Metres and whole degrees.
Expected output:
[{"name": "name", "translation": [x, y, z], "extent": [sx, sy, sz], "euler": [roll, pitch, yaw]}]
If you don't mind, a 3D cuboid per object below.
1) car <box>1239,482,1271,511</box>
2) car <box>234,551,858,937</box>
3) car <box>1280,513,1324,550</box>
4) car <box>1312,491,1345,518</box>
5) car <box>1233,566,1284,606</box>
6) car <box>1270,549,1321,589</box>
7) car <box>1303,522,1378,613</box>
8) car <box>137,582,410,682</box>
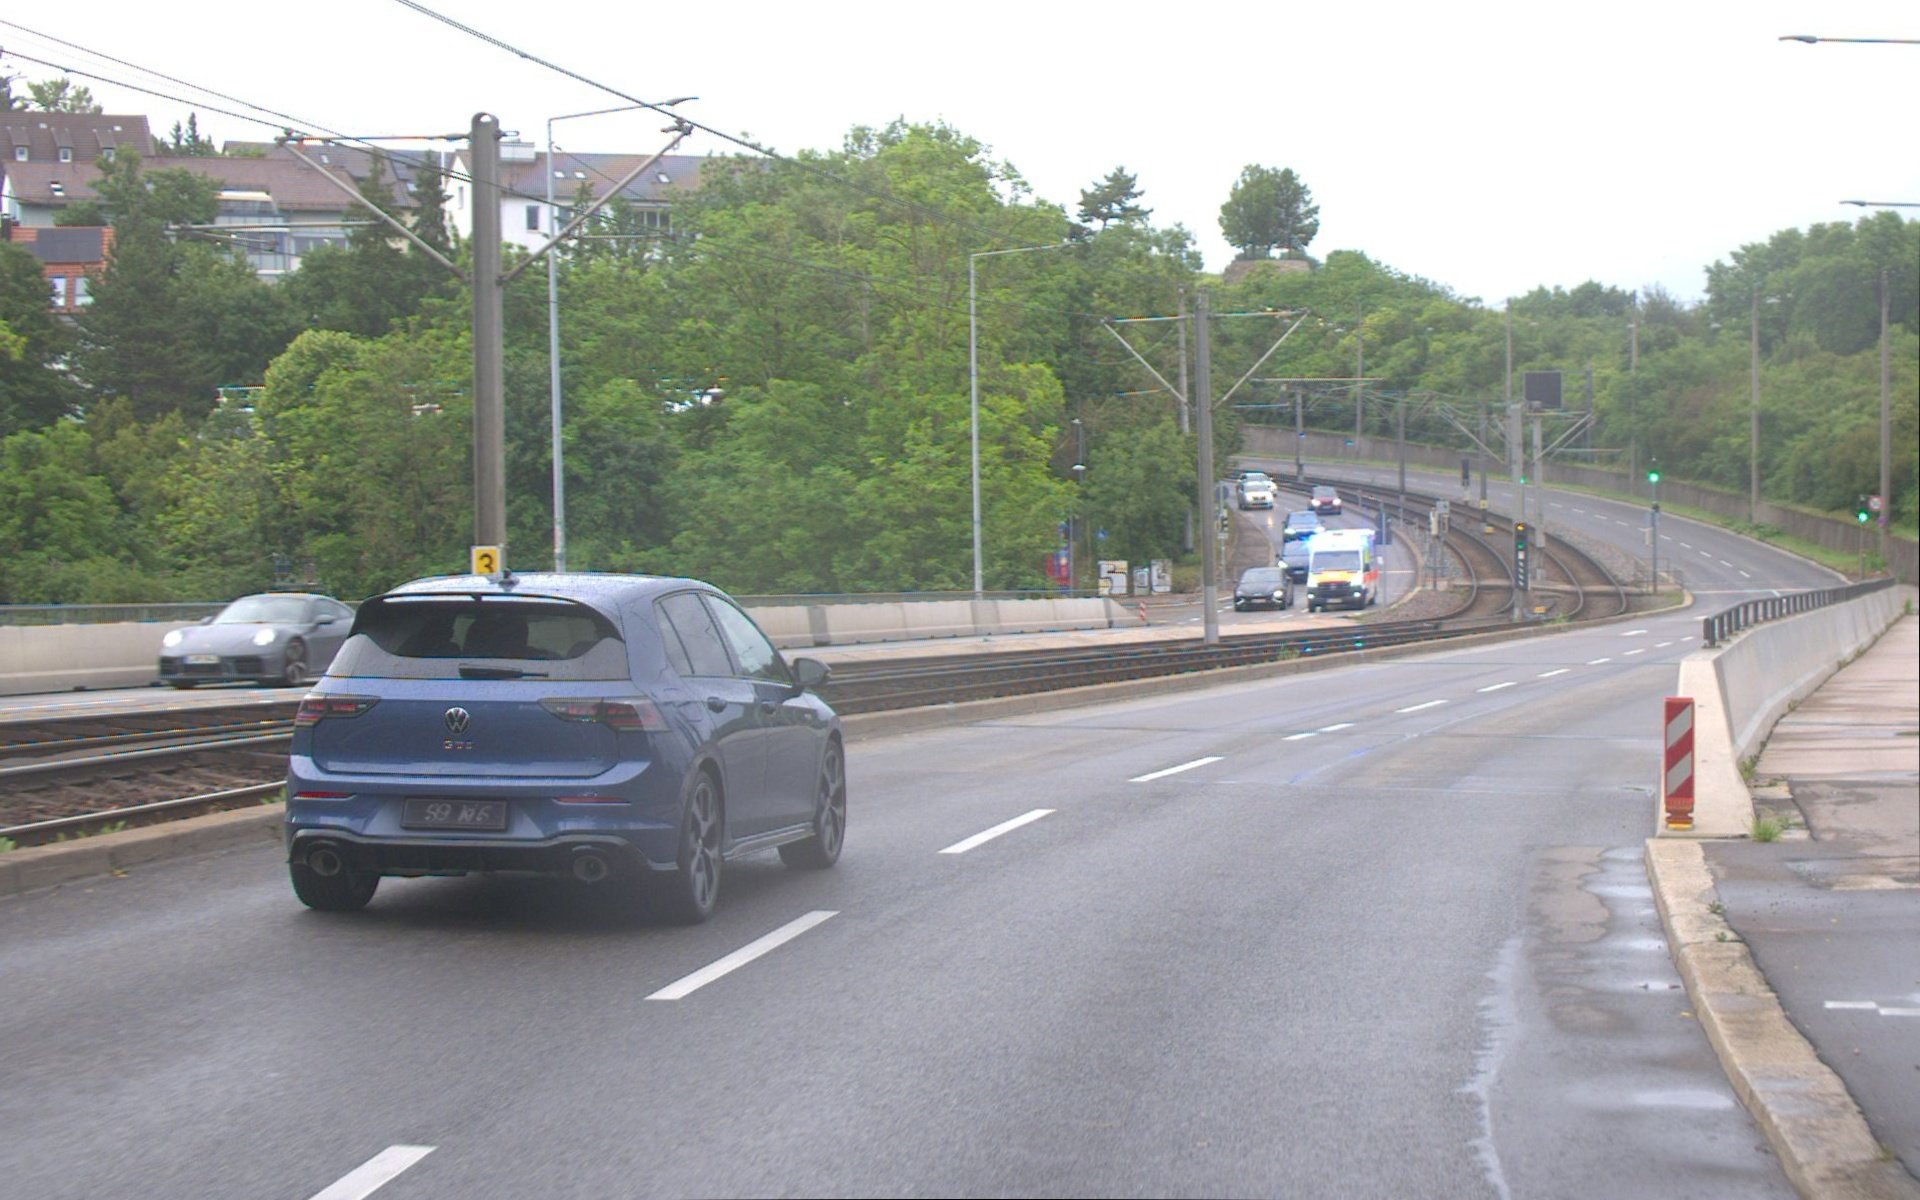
[{"name": "car", "translation": [17.364, -6.073, 202.163], "extent": [1.821, 1.510, 4.528], "euler": [0, 0, 5]}, {"name": "car", "translation": [-1.717, 0.562, 15.642], "extent": [1.764, 1.496, 3.998], "euler": [1, 0, 9]}, {"name": "car", "translation": [16.763, -3.367, 168.778], "extent": [1.969, 1.592, 5.183], "euler": [-1, -1, 4]}, {"name": "car", "translation": [20.663, -5.360, 192.772], "extent": [1.600, 1.488, 3.017], "euler": [-2, 1, 2]}, {"name": "car", "translation": [10.875, -0.519, 125.250], "extent": [1.817, 1.431, 4.740], "euler": [0, 1, 5]}, {"name": "car", "translation": [13.908, -1.294, 142.748], "extent": [1.896, 1.592, 4.731], "euler": [-1, 0, 4]}, {"name": "car", "translation": [13.524, -1.133, 121.900], "extent": [2.390, 3.105, 6.355], "euler": [1, 0, 8]}, {"name": "car", "translation": [-9.594, 0.444, 48.456], "extent": [1.838, 1.310, 4.615], "euler": [-1, -1, 16]}]
